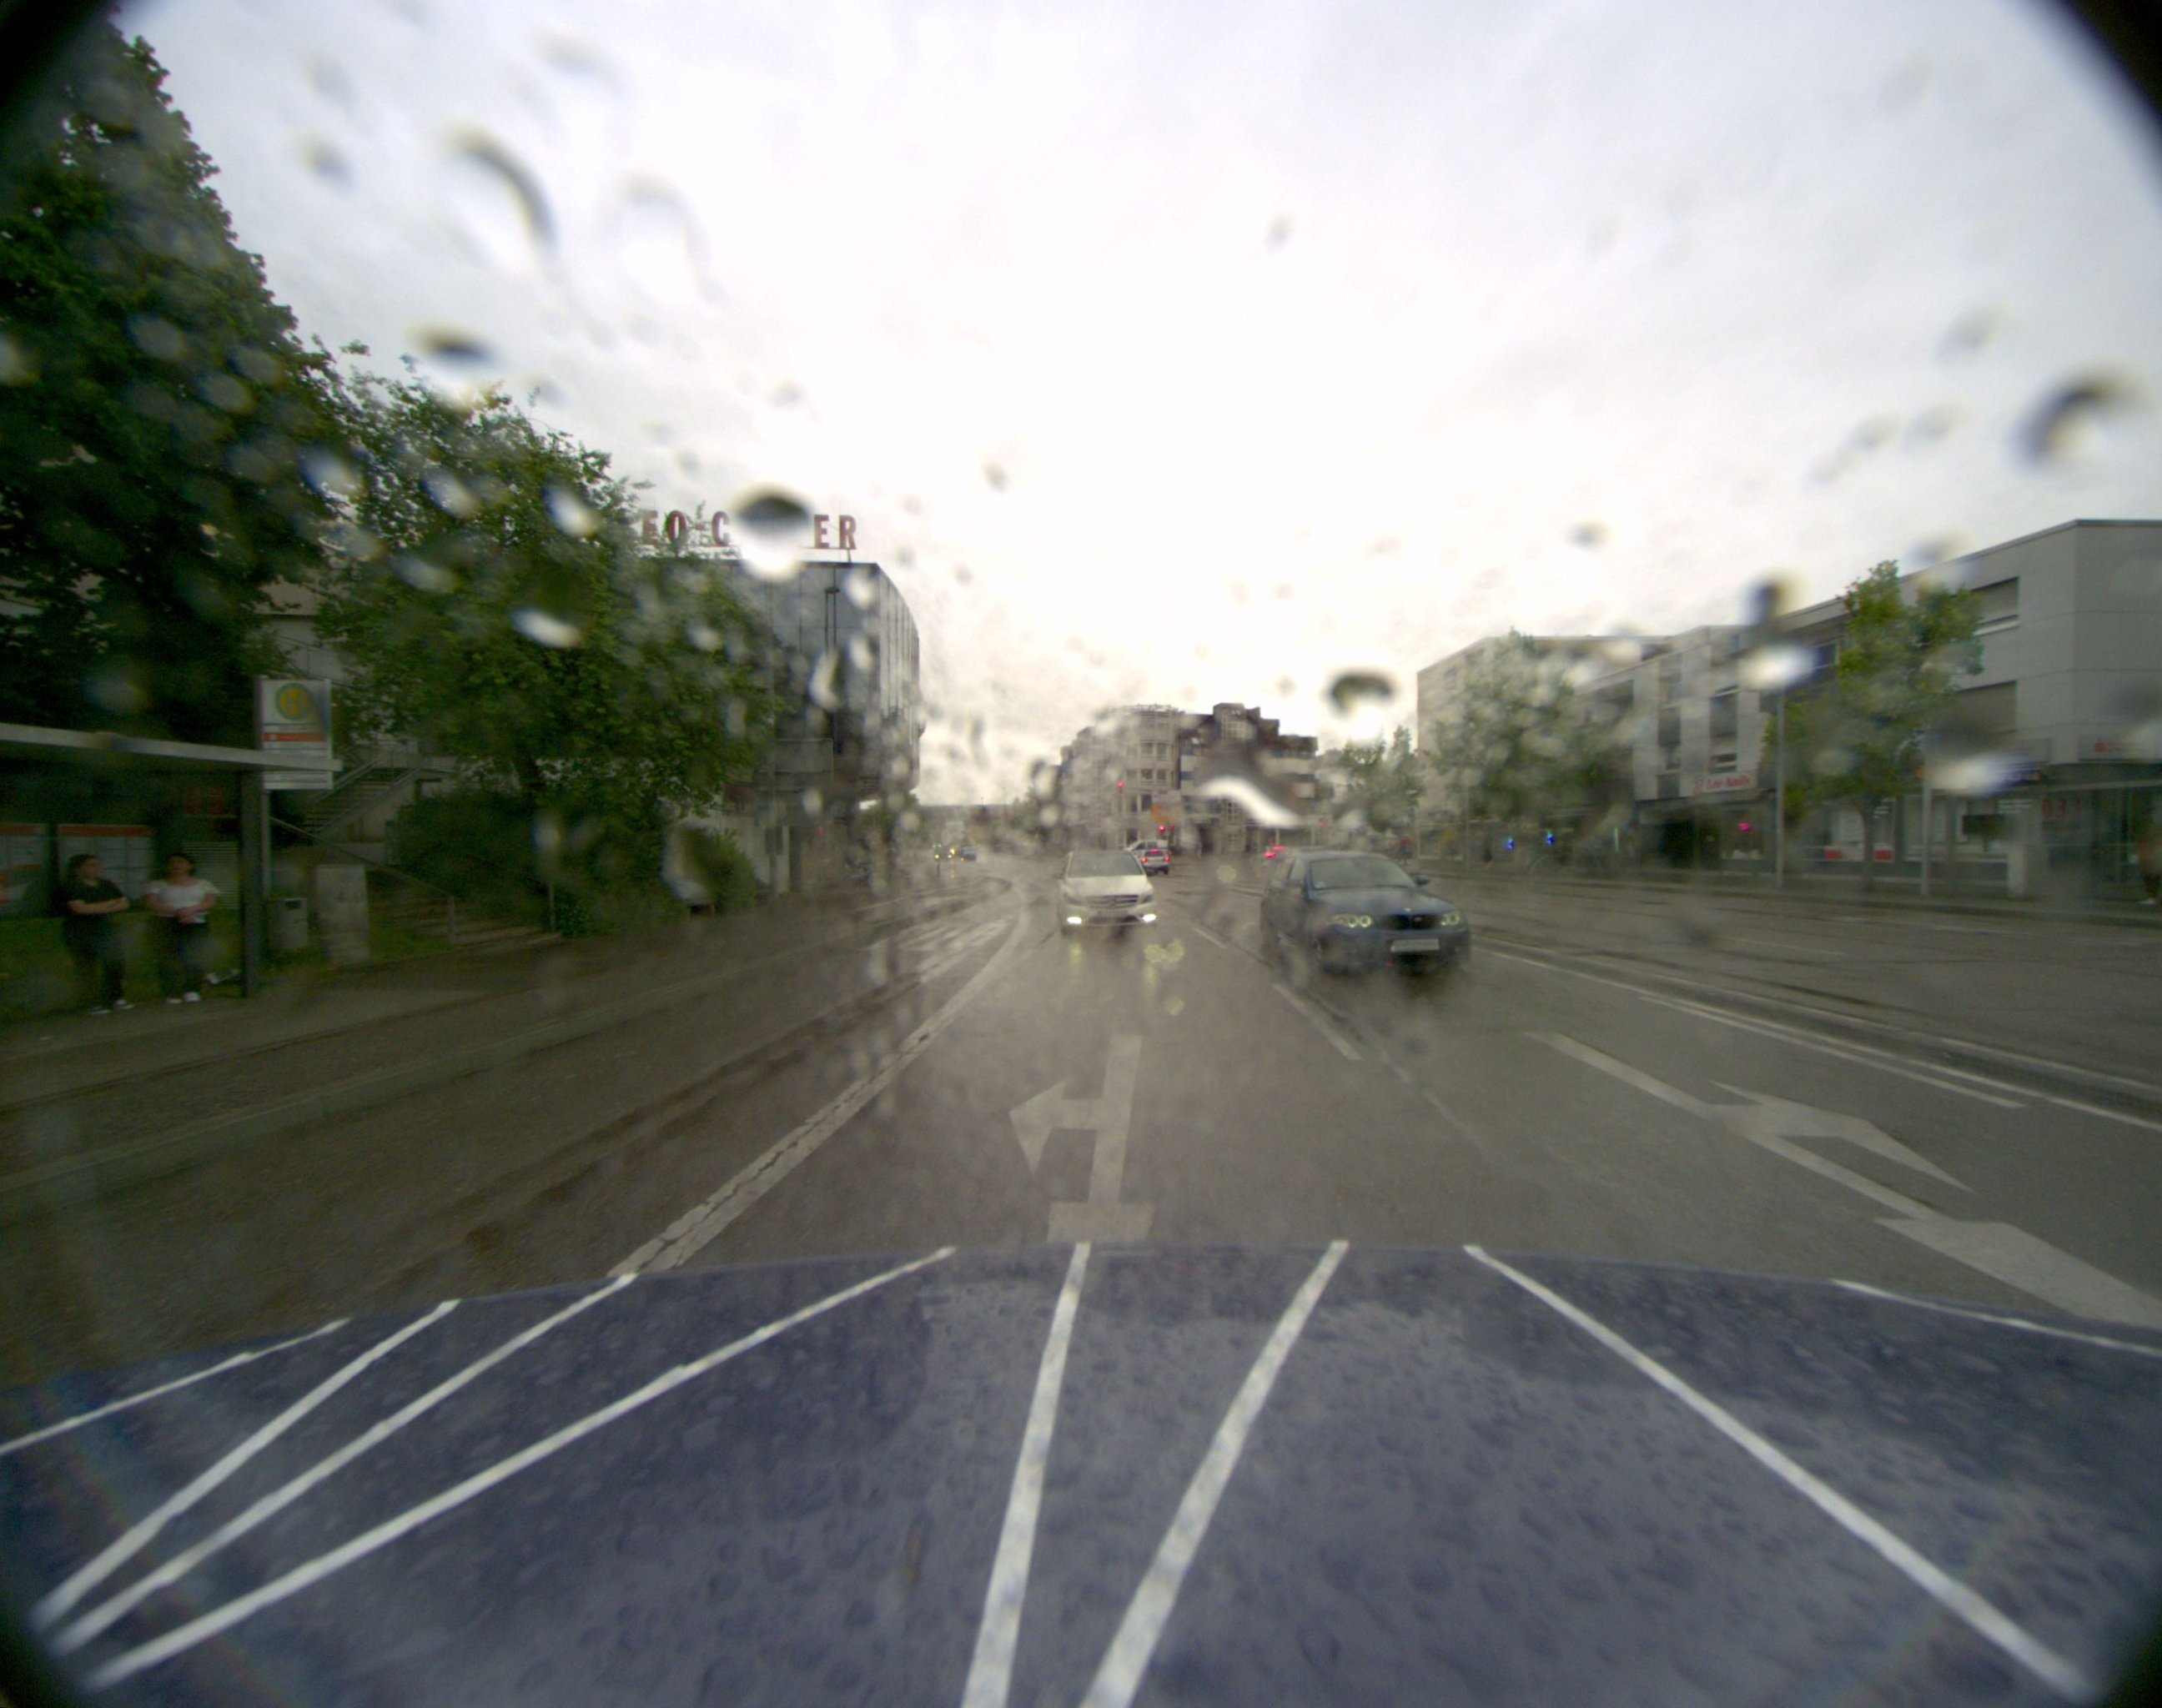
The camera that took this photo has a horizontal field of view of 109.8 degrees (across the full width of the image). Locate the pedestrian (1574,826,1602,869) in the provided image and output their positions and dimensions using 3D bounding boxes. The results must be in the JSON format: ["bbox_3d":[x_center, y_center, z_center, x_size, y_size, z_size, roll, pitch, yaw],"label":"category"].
[{"bbox_3d":[24.122,-0.290,36.170,0.760,2.002,0.864,-1,1,1],"label":"pedestrian"}]

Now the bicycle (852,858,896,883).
[{"bbox_3d":[-9.509,0.753,35.009,1.835,1.104,0.694,1,2,-3],"label":"bicycle"}]

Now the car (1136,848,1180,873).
[{"bbox_3d":[4.624,0.384,46.170,1.763,1.443,3.997,-1,0,-7],"label":"car"}]

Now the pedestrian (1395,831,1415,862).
[{"bbox_3d":[21.872,-0.500,51.240,0.905,2.002,0.977,-1,1,-1],"label":"pedestrian"}]

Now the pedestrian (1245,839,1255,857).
[{"bbox_3d":[16.274,-0.589,73.208,0.838,1.733,0.585,-2,2,5],"label":"pedestrian"}]

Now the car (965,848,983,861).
[{"bbox_3d":[-13.075,0.097,92.824,1.902,1.517,3.996,-1,1,-11],"label":"car"}]

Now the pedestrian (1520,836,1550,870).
[{"bbox_3d":[22.298,-0.047,37.313,1.010,1.636,0.726,-1,1,-1],"label":"pedestrian"}]

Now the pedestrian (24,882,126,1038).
[{"bbox_3d":[-9.315,0.948,7.051,0.410,1.357,0.544,2,1,41],"label":"pedestrian"}]

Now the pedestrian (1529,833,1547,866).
[{"bbox_3d":[24.235,-0.218,40.338,0.549,1.740,0.680,-1,1,1],"label":"pedestrian"}]

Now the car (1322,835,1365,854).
[{"bbox_3d":[29.527,-1.050,85.457,4.605,2.002,1.995,-1,1,-30],"label":"car"}]

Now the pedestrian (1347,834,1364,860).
[{"bbox_3d":[20.511,-0.530,56.821,0.905,1.904,0.977,-1,1,1],"label":"pedestrian"}]

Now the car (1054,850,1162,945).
[{"bbox_3d":[0.667,0.717,14.805,1.761,1.540,4.328,-1,0,6],"label":"car"}]

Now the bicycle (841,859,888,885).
[{"bbox_3d":[-9.245,0.771,32.504,1.806,1.079,0.684,1,1,-3],"label":"bicycle"}]

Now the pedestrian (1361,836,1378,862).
[{"bbox_3d":[21.524,-0.389,56.732,0.905,1.904,0.977,-1,1,-1],"label":"pedestrian"}]

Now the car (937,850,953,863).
[{"bbox_3d":[-16.744,0.239,93.415,1.902,1.517,3.996,-1,1,-11],"label":"car"}]

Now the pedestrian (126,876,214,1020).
[{"bbox_3d":[-9.104,0.915,7.606,0.410,1.357,0.544,2,1,42],"label":"pedestrian"}]

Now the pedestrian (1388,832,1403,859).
[{"bbox_3d":[23.561,-0.655,56.932,0.760,2.002,0.864,-1,1,-2],"label":"pedestrian"}]

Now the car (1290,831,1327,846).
[{"bbox_3d":[27.144,-1.897,90.672,3.899,1.710,1.744,-1,1,-19],"label":"car"}]

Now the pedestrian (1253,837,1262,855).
[{"bbox_3d":[17.331,-0.787,74.577,0.682,1.733,0.586,-1,2,25],"label":"pedestrian"}]

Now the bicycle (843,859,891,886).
[{"bbox_3d":[-9.027,0.786,32.064,1.815,1.104,0.694,1,1,-3],"label":"bicycle"}]

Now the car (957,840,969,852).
[{"bbox_3d":[-16.781,-1.133,107.767,1.584,1.630,3.637,-1,1,-10],"label":"car"}]

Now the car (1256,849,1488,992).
[{"bbox_3d":[3.620,0.730,10.239,1.676,1.534,3.913,-1,0,1],"label":"car"}]

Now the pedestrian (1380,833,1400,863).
[{"bbox_3d":[20.746,-0.419,51.038,0.905,2.002,0.977,-1,1,-1],"label":"pedestrian"}]

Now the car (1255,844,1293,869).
[{"bbox_3d":[11.994,0.123,47.452,1.761,1.419,4.890,-1,1,8],"label":"car"}]

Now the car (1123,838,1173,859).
[{"bbox_3d":[6.775,-0.589,77.182,4.600,2.002,1.997,-1,1,-15],"label":"car"}]

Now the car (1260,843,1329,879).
[{"bbox_3d":[9.190,0.275,33.090,1.704,1.458,4.102,0,1,-2],"label":"car"}]

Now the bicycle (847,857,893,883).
[{"bbox_3d":[-9.305,0.721,33.547,1.815,1.104,0.694,1,1,-3],"label":"bicycle"}]

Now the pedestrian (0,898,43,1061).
[{"bbox_3d":[-9.085,0.999,5.910,1.032,1.274,0.692,2,1,-2],"label":"pedestrian"}]

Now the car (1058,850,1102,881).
[{"bbox_3d":[-0.010,0.549,38.677,1.631,1.481,3.842,-1,0,9],"label":"car"}]

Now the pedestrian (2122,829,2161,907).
[{"bbox_3d":[20.941,0.271,14.839,0.537,1.496,0.614,-1,1,-24],"label":"pedestrian"}]
